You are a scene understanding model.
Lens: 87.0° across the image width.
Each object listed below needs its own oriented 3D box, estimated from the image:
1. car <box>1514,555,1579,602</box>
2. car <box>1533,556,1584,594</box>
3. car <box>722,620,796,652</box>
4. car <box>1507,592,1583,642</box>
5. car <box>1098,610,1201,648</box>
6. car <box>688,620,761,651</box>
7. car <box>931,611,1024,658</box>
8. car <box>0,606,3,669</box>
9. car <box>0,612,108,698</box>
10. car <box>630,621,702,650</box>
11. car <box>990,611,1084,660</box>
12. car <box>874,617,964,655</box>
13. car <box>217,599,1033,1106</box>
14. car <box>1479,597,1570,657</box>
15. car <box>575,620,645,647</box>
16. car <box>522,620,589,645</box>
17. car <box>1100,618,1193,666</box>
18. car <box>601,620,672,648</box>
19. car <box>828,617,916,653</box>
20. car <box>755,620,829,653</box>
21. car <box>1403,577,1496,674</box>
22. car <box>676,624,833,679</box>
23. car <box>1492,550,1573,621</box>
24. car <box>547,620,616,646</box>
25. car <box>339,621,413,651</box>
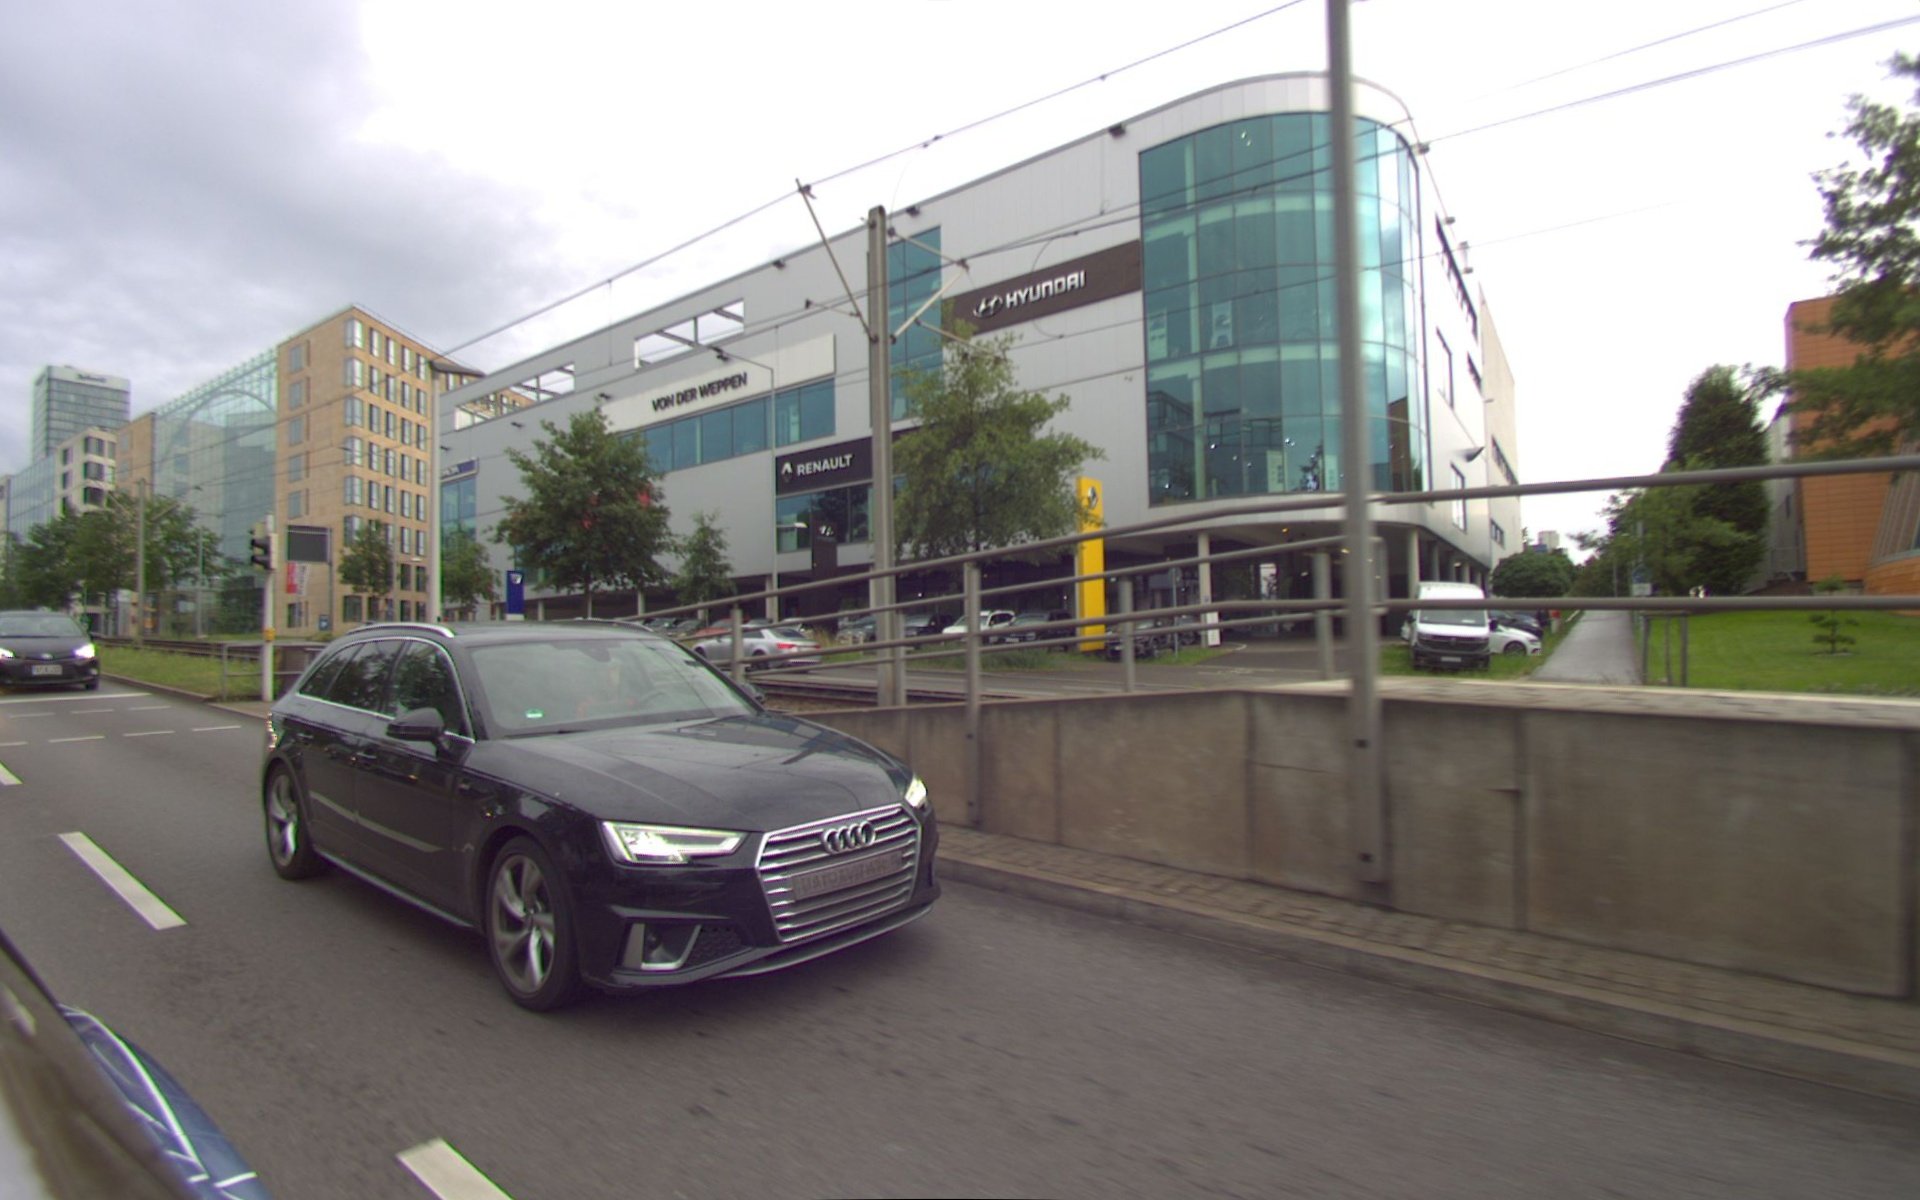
[{"bbox_3d":[33.281,-1.160,57.381,2.741,2.513,5.420,-1,0,35],"label":"car"},{"bbox_3d":[42.658,-1.724,72.081,2.741,2.513,5.420,-1,0,35],"label":"car"},{"bbox_3d":[-10.010,1.771,50.617,1.812,1.502,3.813,-1,-1,23],"label":"car"},{"bbox_3d":[24.225,0.644,41.800,2.274,1.940,5.420,-1,0,35],"label":"car"},{"bbox_3d":[7.801,1.193,41.925,3.946,1.480,1.770,-1,-1,2],"label":"car"},{"bbox_3d":[-12.055,1.790,52.008,1.812,1.502,3.813,-1,-1,23],"label":"car"},{"bbox_3d":[0.745,1.368,41.140,1.917,1.674,3.954,-1,1,34],"label":"car"},{"bbox_3d":[-27.793,1.046,27.837,4.129,1.693,1.758,-2,-1,41],"label":"car"},{"bbox_3d":[-17.934,1.009,19.515,3.999,1.513,1.775,-2,-1,42],"label":"car"},{"bbox_3d":[-16.073,1.918,55.522,1.812,1.502,3.813,-1,-1,23],"label":"car"},{"bbox_3d":[3.038,1.342,39.415,1.917,1.674,3.954,-1,0,34],"label":"car"},{"bbox_3d":[-1.701,1.496,42.783,1.819,1.502,3.954,-1,-1,34],"label":"car"},{"bbox_3d":[-2.086,0.777,5.170,4.826,1.445,1.771,-2,-1,41],"label":"car"},{"bbox_3d":[20.082,0.889,35.872,2.274,1.940,5.420,-1,0,35],"label":"car"},{"bbox_3d":[-20.356,1.923,58.939,1.812,1.502,3.813,-1,-1,23],"label":"car"},{"bbox_3d":[-24.709,1.970,62.015,1.809,1.502,3.819,-1,-1,18],"label":"car"},{"bbox_3d":[6.673,1.434,35.945,1.892,1.519,3.956,-1,0,33],"label":"car"},{"bbox_3d":[-18.285,1.893,57.304,1.812,1.502,3.813,-1,-1,23],"label":"car"},{"bbox_3d":[-3.888,1.531,45.280,1.819,1.502,3.954,-1,-1,34],"label":"car"},{"bbox_3d":[-8.057,1.751,48.910,1.812,1.502,3.813,-1,-1,23],"label":"car"},{"bbox_3d":[14.680,0.702,30.637,2.265,2.649,5.441,-1,0,23],"label":"car"},{"bbox_3d":[-6.080,1.438,29.641,4.871,1.399,1.973,-1,0,41],"label":"car"},{"bbox_3d":[28.366,-0.694,50.029,2.994,3.296,5.420,-1,0,35],"label":"car"},{"bbox_3d":[-22.608,1.945,60.612,1.812,1.502,3.813,-1,-1,23],"label":"car"},{"bbox_3d":[-31.301,1.895,54.156,4.871,1.447,1.973,-1,0,41],"label":"car"}]
